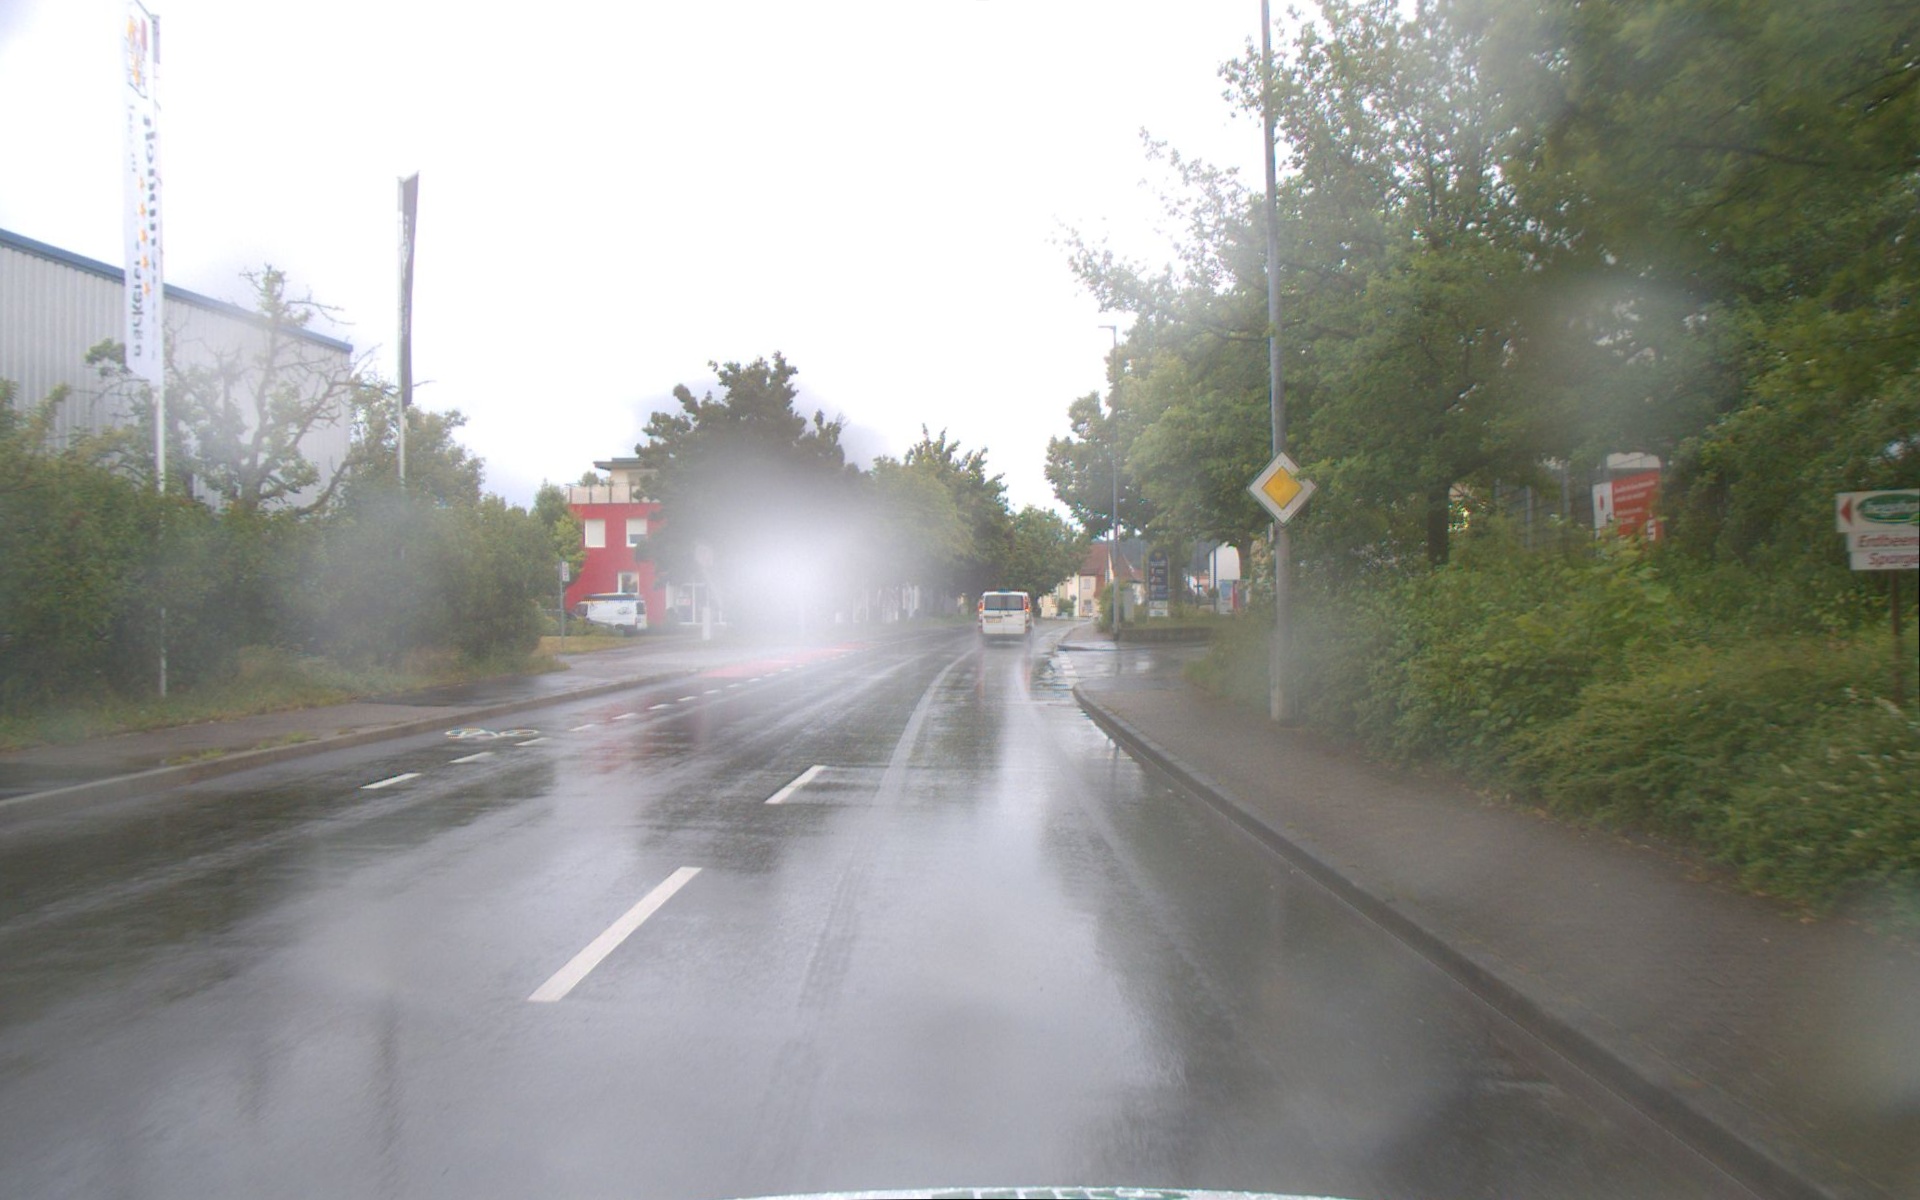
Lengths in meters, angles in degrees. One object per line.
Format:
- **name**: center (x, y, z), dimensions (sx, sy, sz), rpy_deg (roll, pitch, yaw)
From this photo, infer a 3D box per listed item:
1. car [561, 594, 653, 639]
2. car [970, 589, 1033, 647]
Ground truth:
- **car**: center (-19.186, 0.894, 89.958), dimensions (4.382, 2.351, 2.186), rpy_deg (1, 0, 8)
- **car**: center (1.426, 0.595, 57.918), dimensions (2.074, 1.921, 4.502), rpy_deg (1, 1, 0)
